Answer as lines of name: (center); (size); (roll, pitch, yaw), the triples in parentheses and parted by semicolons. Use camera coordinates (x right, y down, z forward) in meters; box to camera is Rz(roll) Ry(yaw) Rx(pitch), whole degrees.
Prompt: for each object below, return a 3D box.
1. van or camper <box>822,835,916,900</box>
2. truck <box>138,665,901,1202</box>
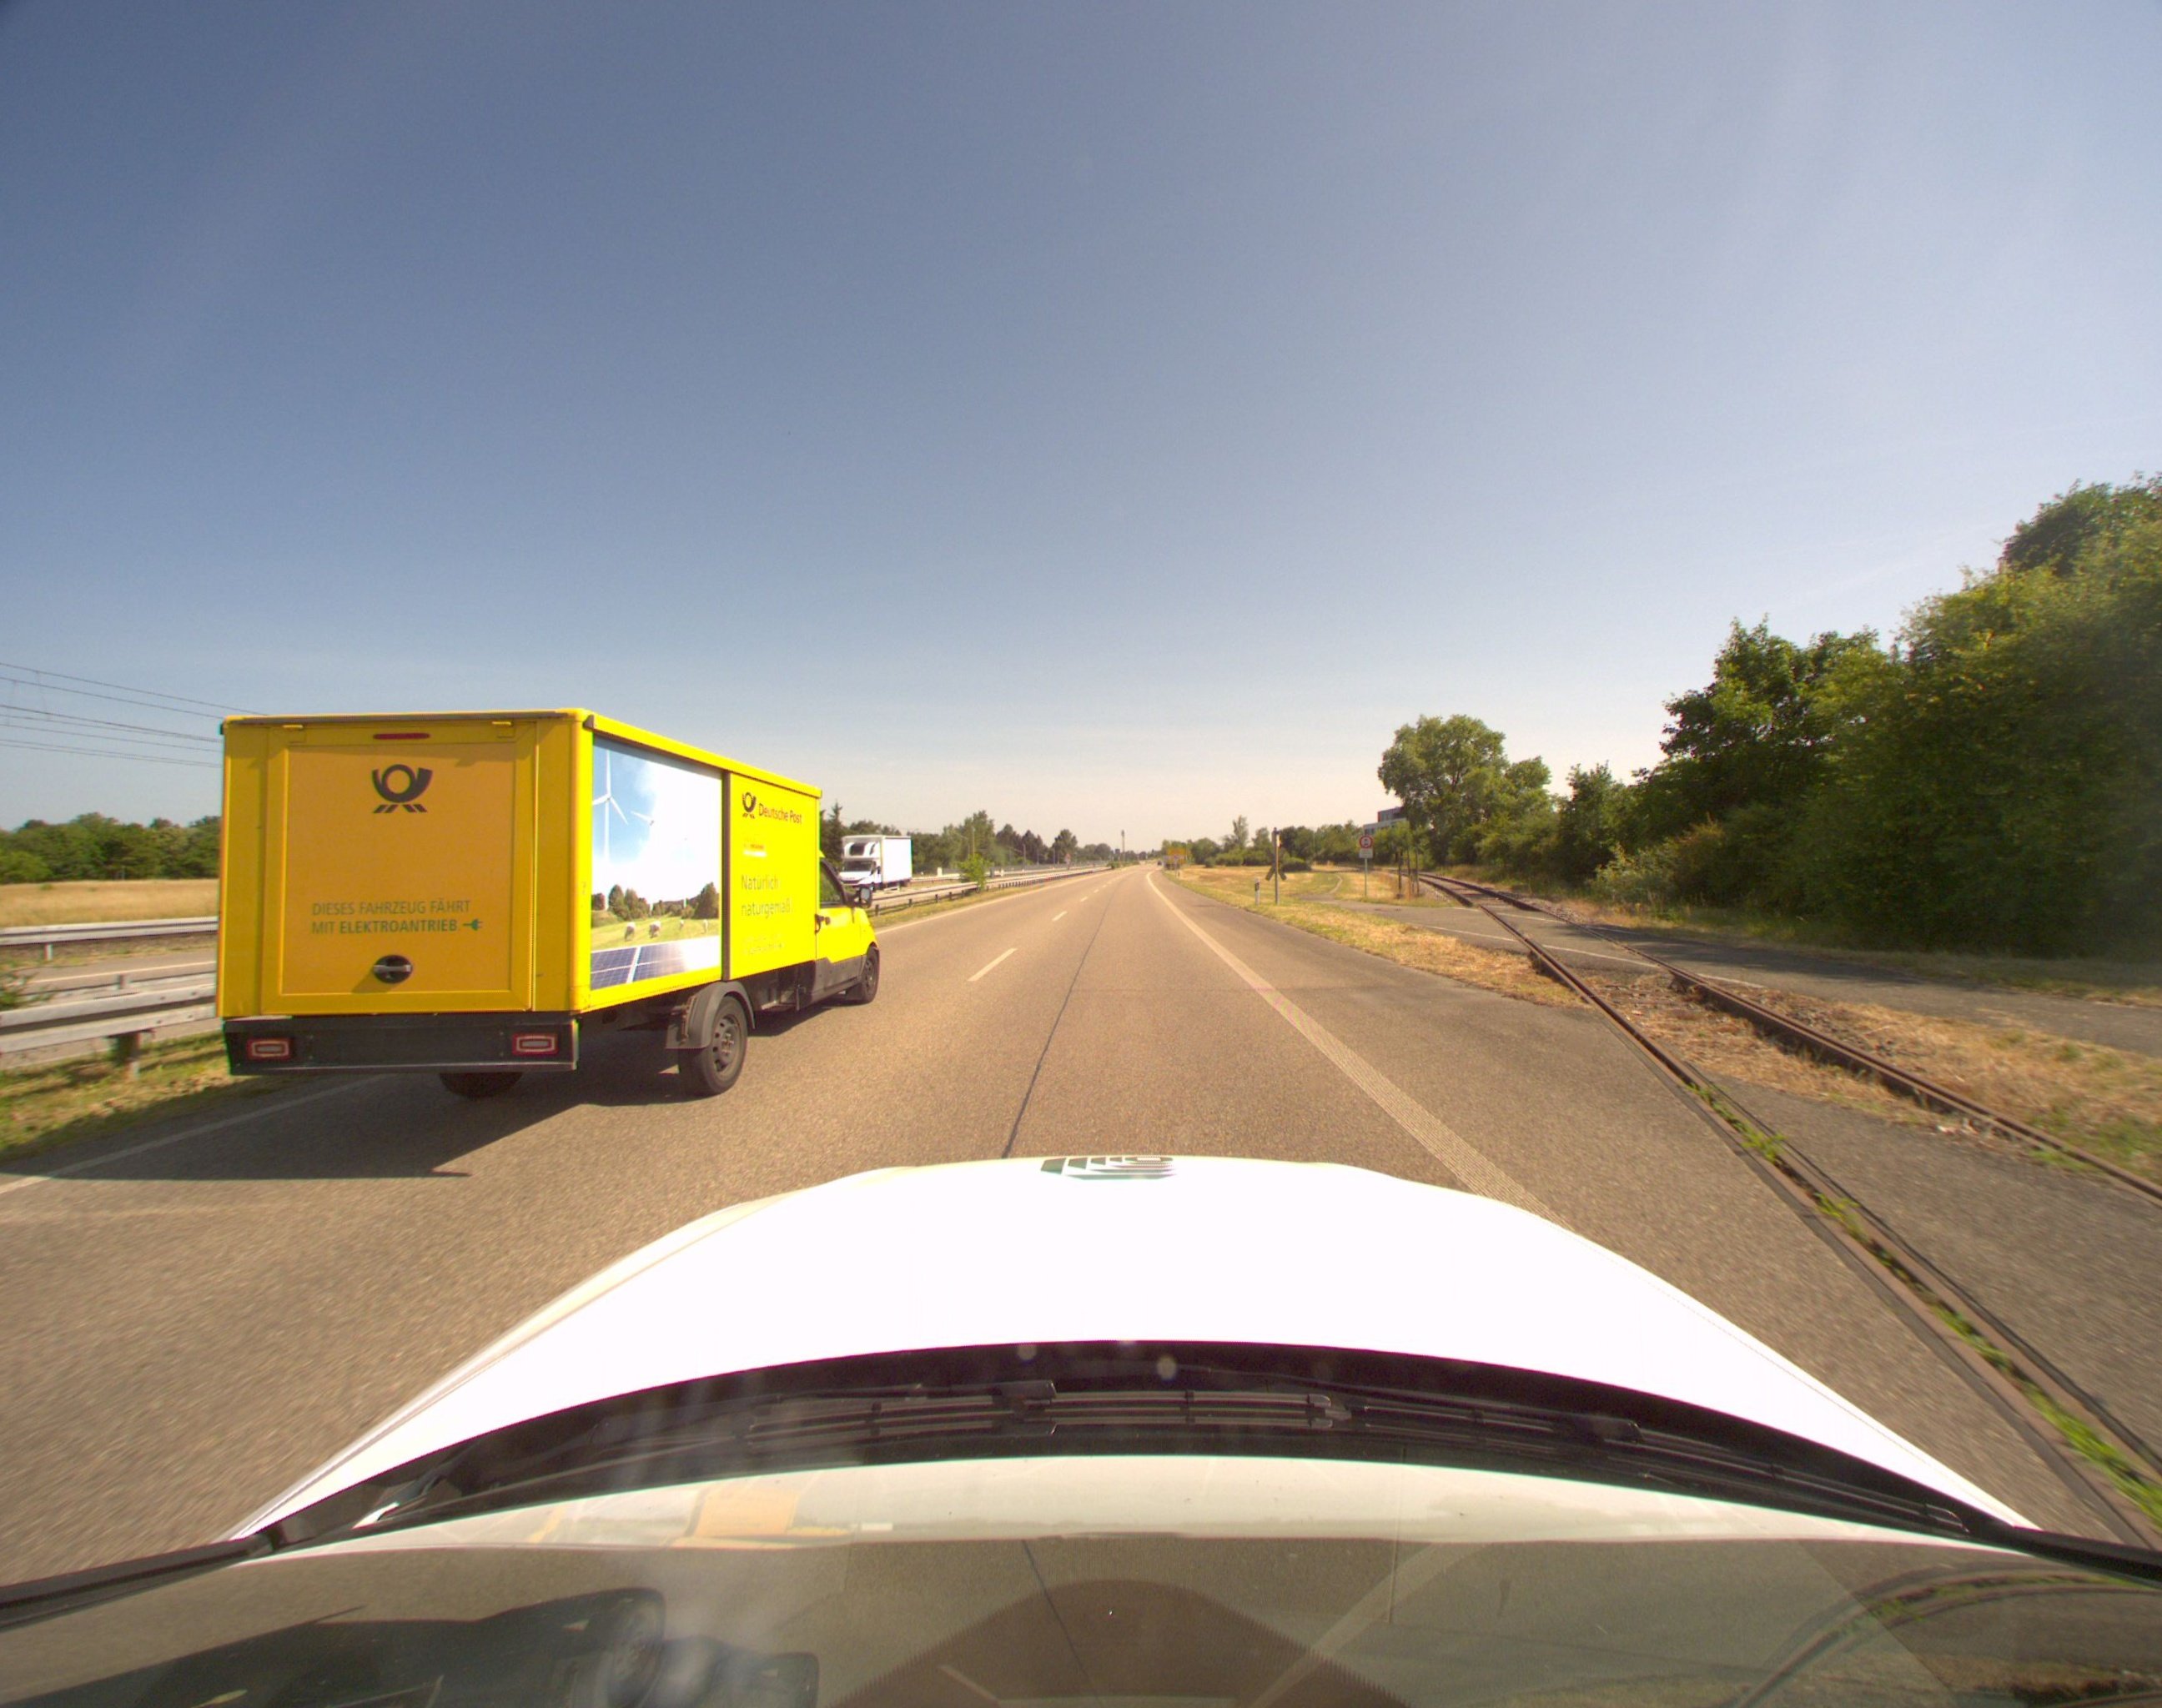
van or camper: (-12.968, 0.801, 50.819); (2.862, 3.680, 8.655); (-1, -1, 5)
truck: (-3.298, 0.400, 6.774); (2.104, 2.457, 5.918); (-2, -1, 1)
